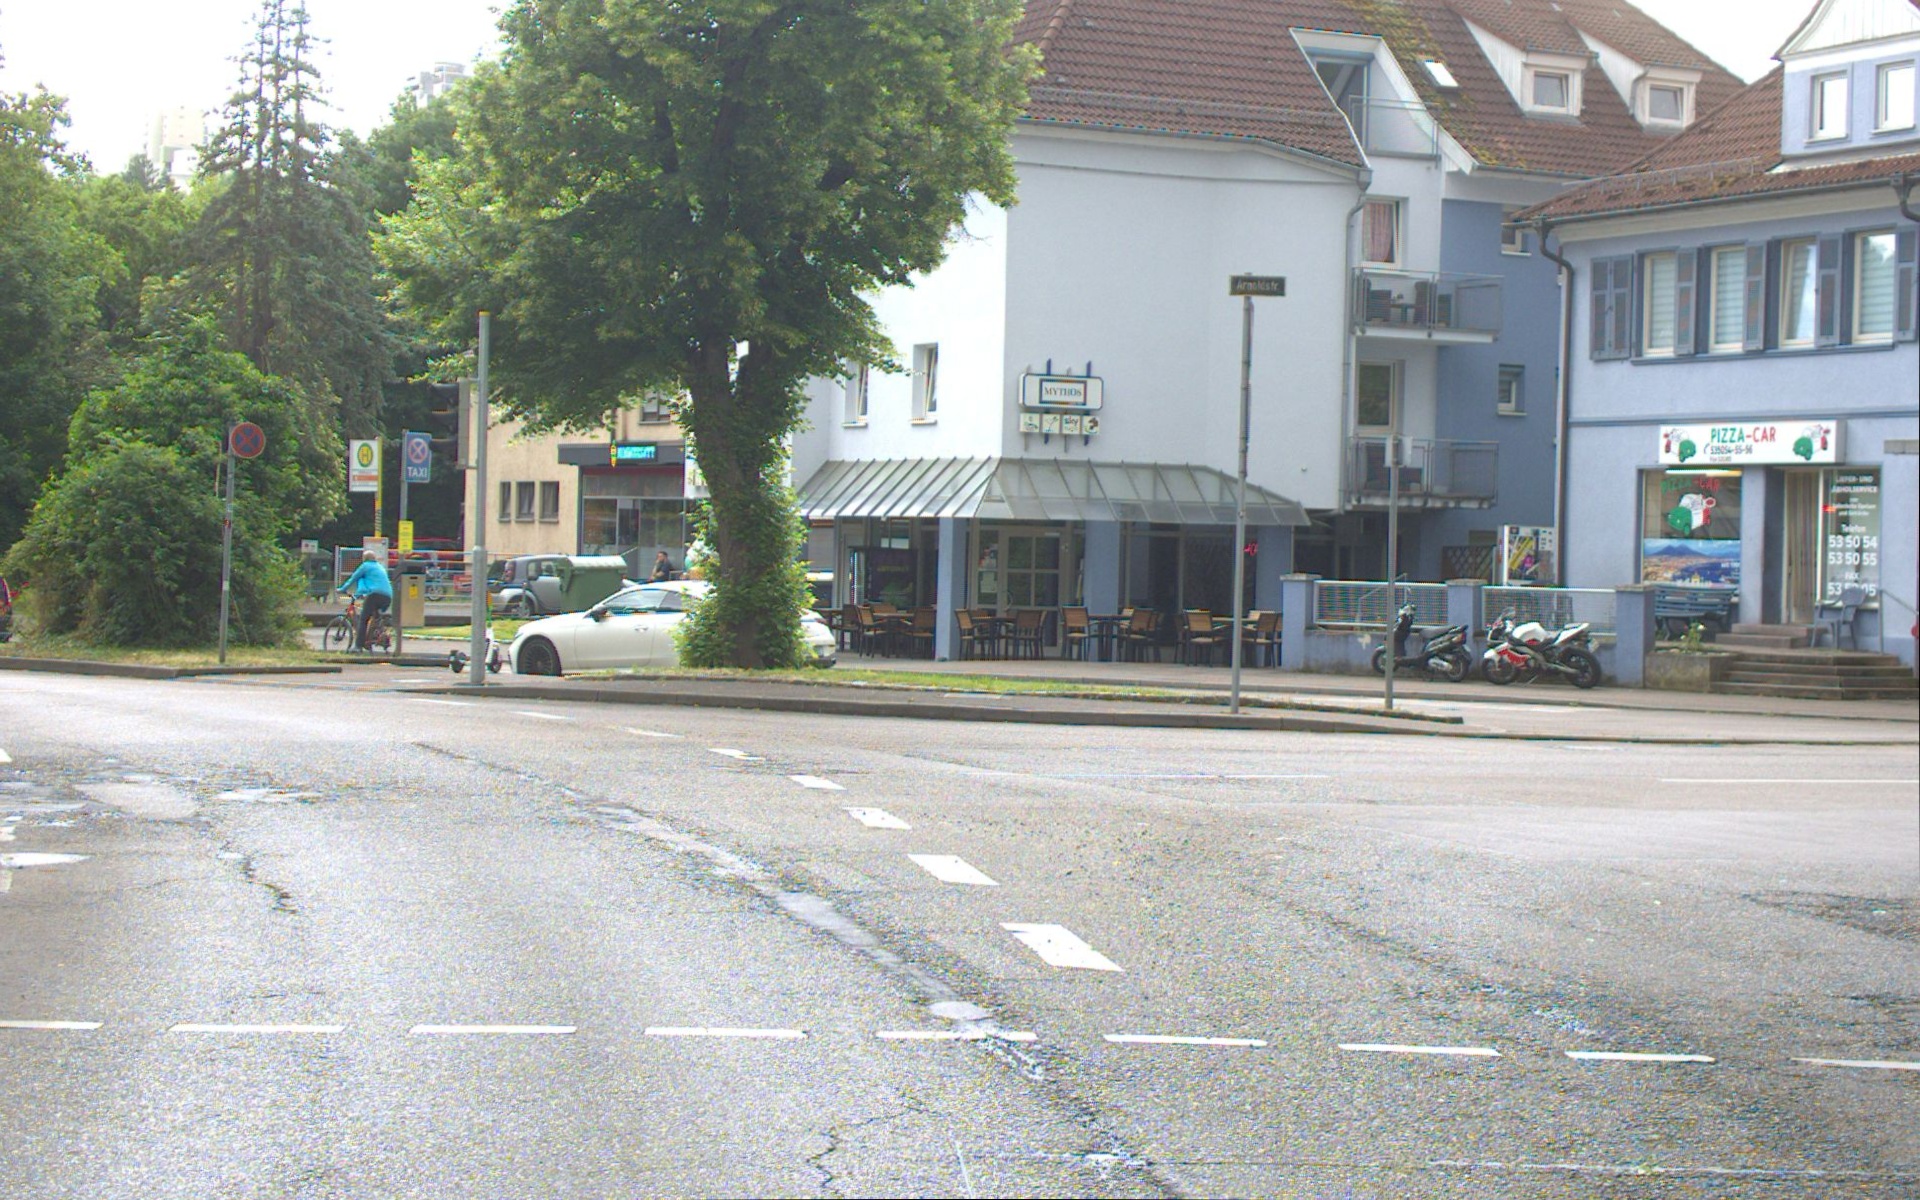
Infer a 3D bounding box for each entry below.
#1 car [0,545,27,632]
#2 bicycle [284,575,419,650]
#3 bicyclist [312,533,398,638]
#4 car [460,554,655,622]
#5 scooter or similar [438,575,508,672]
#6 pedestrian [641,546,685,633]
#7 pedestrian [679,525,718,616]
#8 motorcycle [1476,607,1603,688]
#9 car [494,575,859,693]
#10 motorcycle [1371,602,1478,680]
[{"bbox_3d":[-16.420,-0.216,53.517,3.322,1.347,1.778,1,1,27],"label":"car"},{"bbox_3d":[-9.685,0.192,54.740,1.949,1.145,0.875,1,1,24],"label":"bicycle"},{"bbox_3d":[-9.629,-0.236,54.723,0.987,1.646,0.917,1,1,25],"label":"bicyclist"},{"bbox_3d":[-8.859,-0.268,75.627,3.936,1.437,1.753,1,1,-20],"label":"car"},{"bbox_3d":[-6.029,0.283,42.614,0.442,1.171,1.437,1,1,9],"label":"scooter or similar"},{"bbox_3d":[-6.992,-0.257,80.845,0.837,2.007,1.056,1,1,-14],"label":"pedestrian"},{"bbox_3d":[-4.508,-0.502,59.206,0.543,1.554,0.467,0,0,13],"label":"pedestrian"},{"bbox_3d":[8.150,0.662,48.363,1.628,1.085,0.626,1,1,32],"label":"motorcycle"},{"bbox_3d":[-3.804,0.421,45.758,4.709,1.405,1.898,2,1,35],"label":"car"},{"bbox_3d":[6.774,0.591,50.132,1.458,1.085,0.523,1,1,35],"label":"motorcycle"}]
